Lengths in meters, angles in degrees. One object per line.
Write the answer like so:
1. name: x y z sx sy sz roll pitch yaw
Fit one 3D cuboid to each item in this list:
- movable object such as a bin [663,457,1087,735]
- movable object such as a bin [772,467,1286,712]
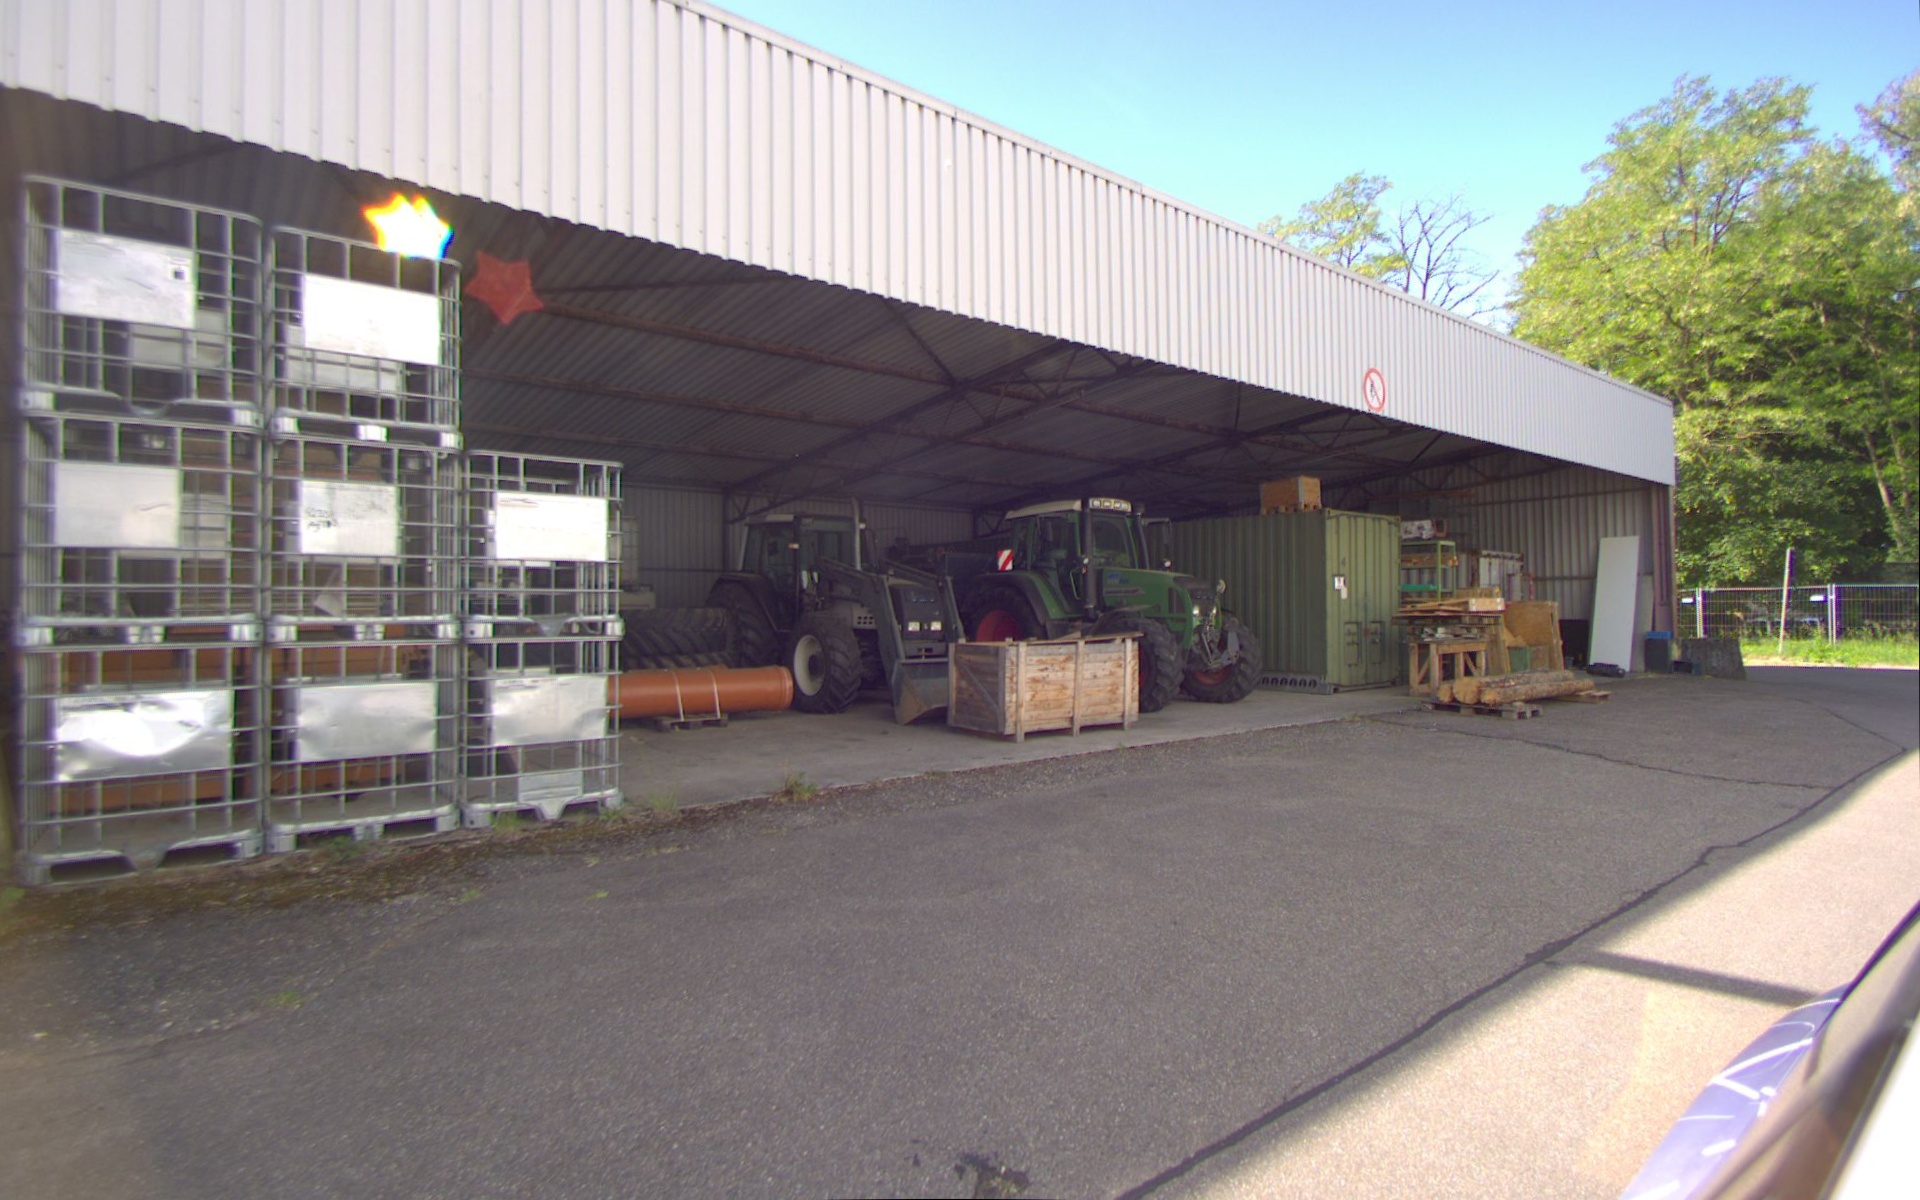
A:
1. movable object such as a bin: -1.513 0.021 14.080 2.961 2.947 6.199 0 -2 -38
2. movable object such as a bin: 0.470 -0.029 16.794 3.153 2.947 9.213 0 -1 -38
